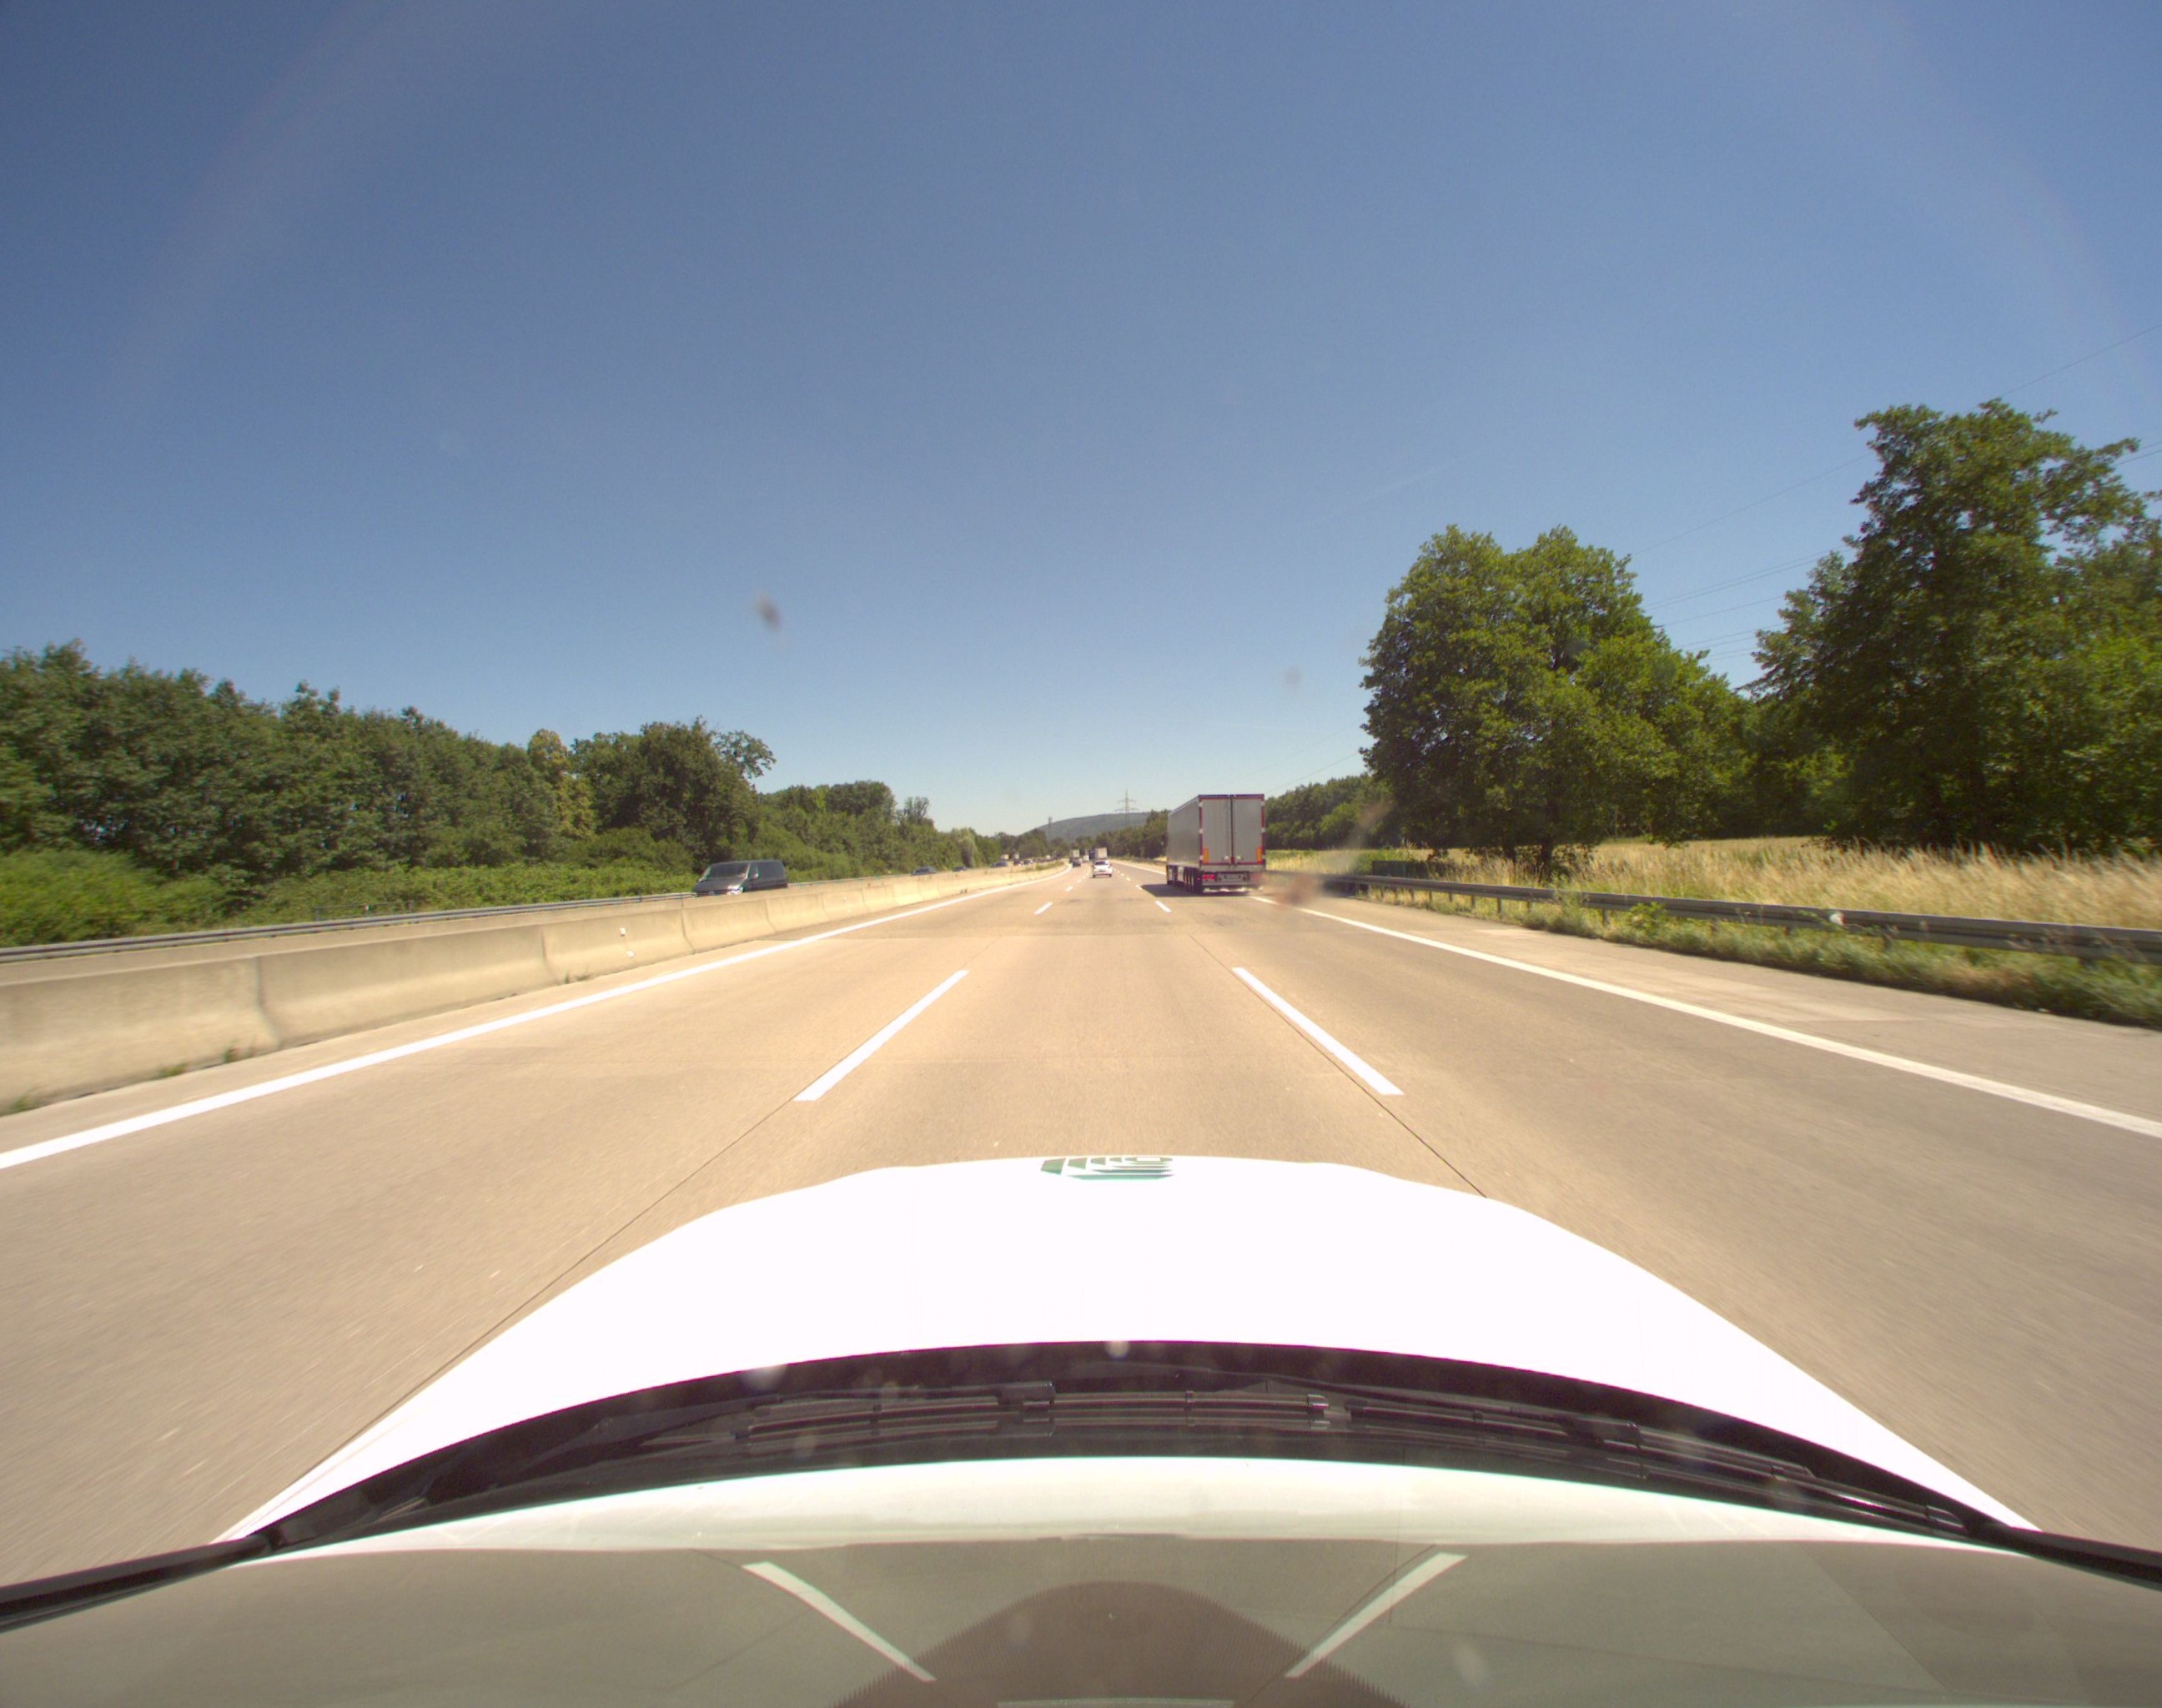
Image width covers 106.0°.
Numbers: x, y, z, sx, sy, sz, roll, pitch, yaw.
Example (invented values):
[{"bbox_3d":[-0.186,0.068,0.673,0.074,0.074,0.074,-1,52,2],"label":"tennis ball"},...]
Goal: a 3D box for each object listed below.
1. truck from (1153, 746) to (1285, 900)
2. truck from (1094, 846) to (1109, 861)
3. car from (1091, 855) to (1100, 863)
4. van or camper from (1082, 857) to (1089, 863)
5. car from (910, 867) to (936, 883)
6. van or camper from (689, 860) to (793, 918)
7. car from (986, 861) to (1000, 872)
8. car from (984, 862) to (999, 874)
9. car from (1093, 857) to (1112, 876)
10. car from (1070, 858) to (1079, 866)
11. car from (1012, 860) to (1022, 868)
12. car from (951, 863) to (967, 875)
[{"bbox_3d":[6.086,-1.229,40.182,3.565,5.787,18.249,-2,0,1],"label":"truck"},{"bbox_3d":[5.968,-0.156,237.518,3.808,3.889,14.149,-5,0,0],"label":"truck"},{"bbox_3d":[3.238,1.084,177.621,1.606,1.725,3.570,-5,0,-2],"label":"car"},{"bbox_3d":[1.355,1.801,245.884,1.863,1.837,3.997,-5,0,-2],"label":"van or camper"},{"bbox_3d":[-14.825,1.940,76.623,1.624,1.418,3.525,-2,0,2],"label":"car"},{"bbox_3d":[-12.299,1.198,29.796,1.841,1.882,4.417,-2,0,1],"label":"van or camper"},{"bbox_3d":[-14.095,1.967,130.940,1.697,1.658,4.405,-2,0,0],"label":"car"},{"bbox_3d":[-12.114,1.897,110.278,1.554,1.418,3.524,-2,0,2],"label":"car"},{"bbox_3d":[1.935,1.099,72.685,1.635,1.662,3.361,-1,0,1],"label":"car"},{"bbox_3d":[-1.450,1.656,178.605,2.016,1.700,3.998,0,0,-1],"label":"car"},{"bbox_3d":[-13.755,2.207,174.910,1.794,1.670,4.218,-3,-1,0],"label":"car"},{"bbox_3d":[-18.234,2.201,122.033,1.697,1.658,4.089,-2,-1,0],"label":"car"}]
